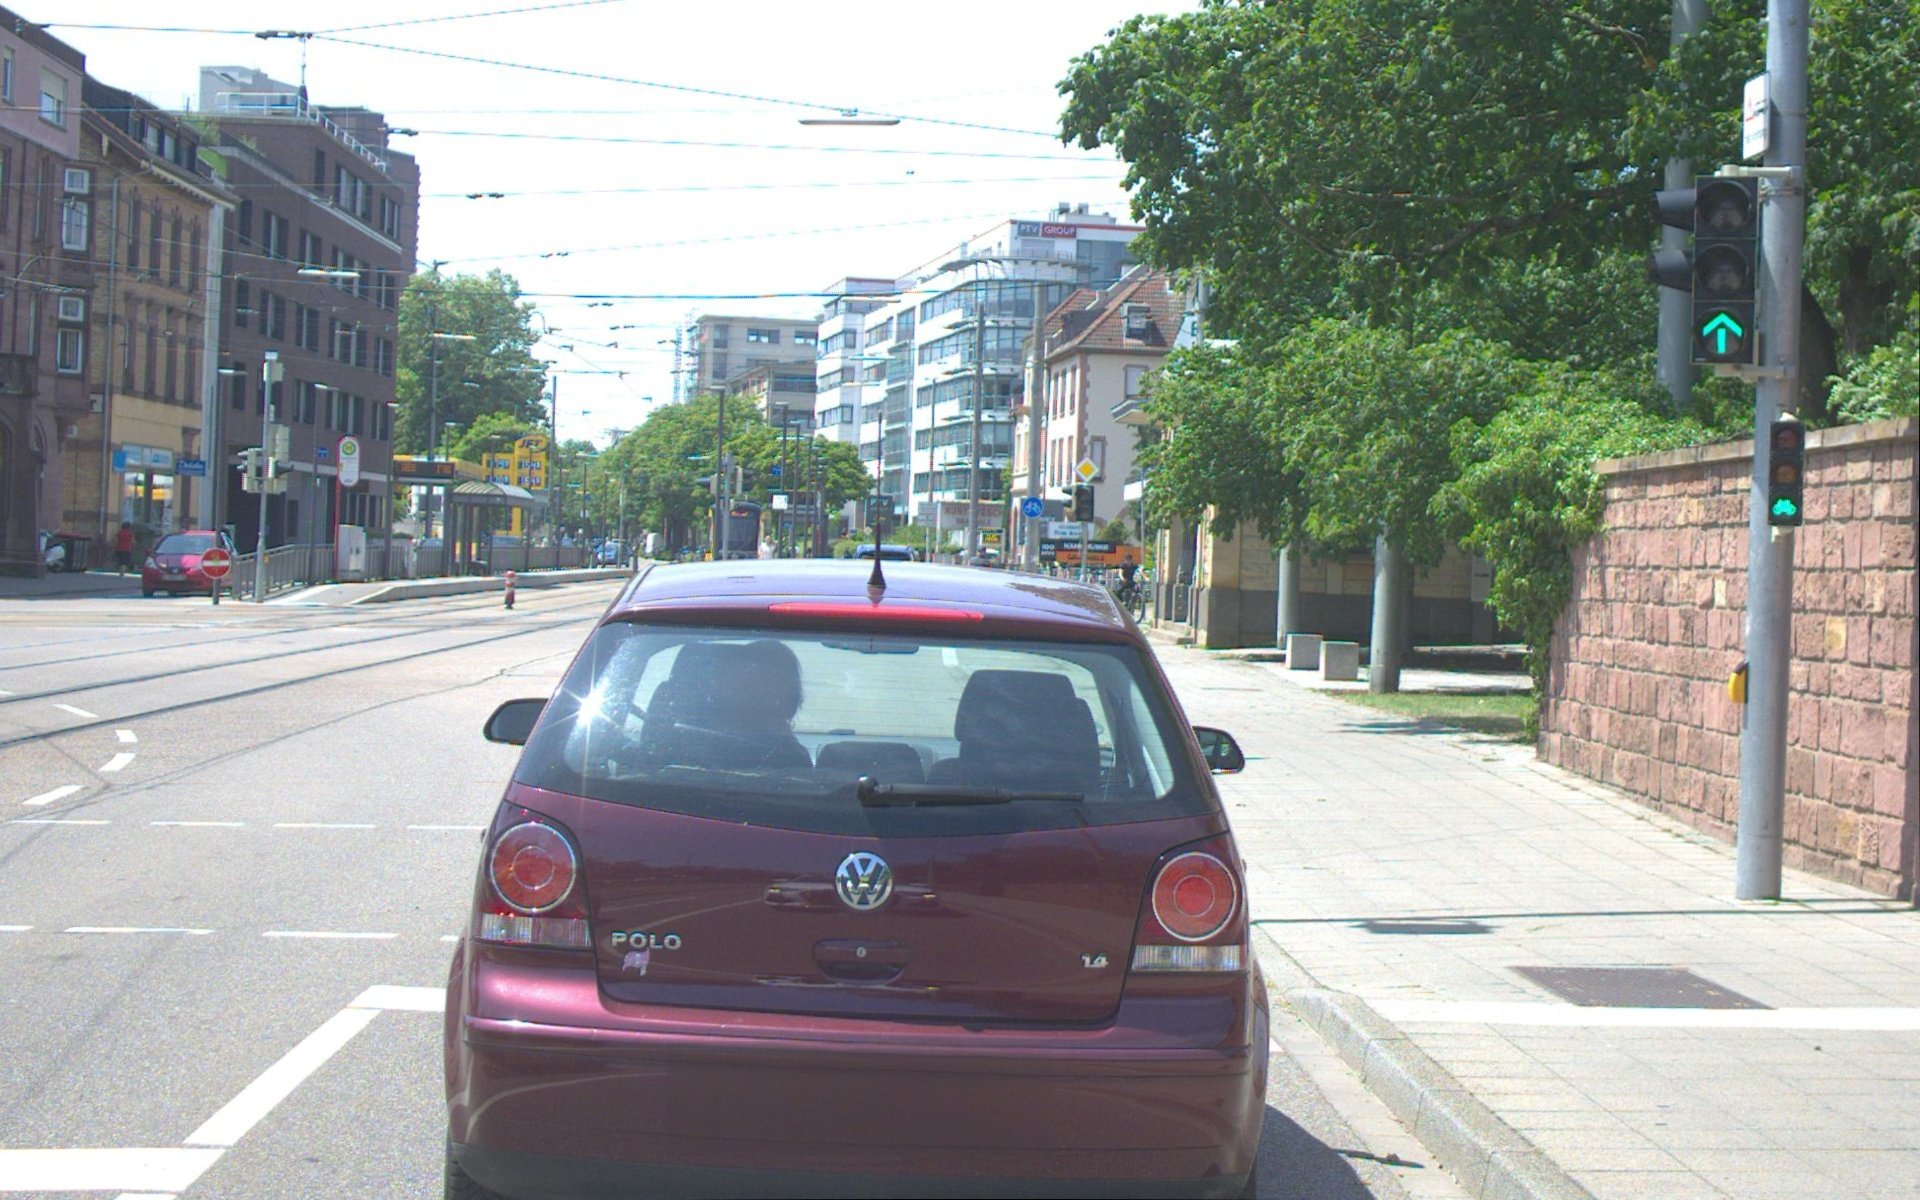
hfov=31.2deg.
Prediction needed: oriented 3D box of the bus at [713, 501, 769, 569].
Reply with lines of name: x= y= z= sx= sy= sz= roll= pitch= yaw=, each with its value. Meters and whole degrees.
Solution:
bus: x=-10.047 y=-2.985 z=158.111 sx=2.233 sy=2.993 sz=6.594 roll=2 pitch=1 yaw=-1

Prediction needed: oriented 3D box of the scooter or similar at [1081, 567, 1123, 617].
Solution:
scooter or similar: x=3.467 y=-0.201 z=84.015 sx=0.339 sy=1.174 sz=1.468 roll=2 pitch=1 yaw=-25

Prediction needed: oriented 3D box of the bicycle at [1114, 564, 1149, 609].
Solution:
bicycle: x=4.006 y=-0.327 z=80.424 sx=0.668 sy=0.999 sz=1.864 roll=-2 pitch=1 yaw=-1

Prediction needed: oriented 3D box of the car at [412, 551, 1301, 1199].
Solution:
car: x=-0.233 y=0.646 z=7.727 sx=1.561 sy=1.448 sz=3.062 roll=2 pitch=1 yaw=-2

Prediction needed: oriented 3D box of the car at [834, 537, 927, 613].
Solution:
car: x=-1.838 y=-0.588 z=77.860 sx=1.993 sy=1.619 sz=4.632 roll=2 pitch=1 yaw=-2

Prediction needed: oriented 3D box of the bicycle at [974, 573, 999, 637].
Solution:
bicycle: x=0.515 y=0.091 z=67.783 sx=0.375 sy=1.193 sz=1.905 roll=2 pitch=1 yaw=-2

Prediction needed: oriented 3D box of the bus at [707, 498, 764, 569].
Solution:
bus: x=-9.867 y=-2.920 z=151.538 sx=2.145 sy=2.993 sz=6.574 roll=2 pitch=1 yaw=-1

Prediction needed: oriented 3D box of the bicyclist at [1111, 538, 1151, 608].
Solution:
bicyclist: x=4.010 y=-0.641 z=80.515 sx=0.832 sy=1.612 sz=0.860 roll=-2 pitch=1 yaw=-1

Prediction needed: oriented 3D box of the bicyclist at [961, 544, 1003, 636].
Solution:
bicyclist: x=0.435 y=-0.203 z=67.853 sx=0.727 sy=1.754 sz=0.924 roll=2 pitch=1 yaw=-2

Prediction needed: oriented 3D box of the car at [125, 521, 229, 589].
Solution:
car: x=-18.060 y=-1.054 z=79.440 sx=1.624 sy=1.478 sz=3.829 roll=2 pitch=1 yaw=-2

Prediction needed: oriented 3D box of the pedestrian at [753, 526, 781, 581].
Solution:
pedestrian: x=-6.002 y=-1.440 z=106.899 sx=0.763 sy=1.669 sz=1.100 roll=2 pitch=1 yaw=0

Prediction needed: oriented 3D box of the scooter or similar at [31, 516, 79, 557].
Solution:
scooter or similar: x=-24.200 y=-1.692 z=91.918 sx=0.488 sy=1.078 sz=1.576 roll=2 pitch=1 yaw=16

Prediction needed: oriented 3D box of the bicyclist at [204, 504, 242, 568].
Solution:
bicyclist: x=-20.409 y=-1.777 z=95.211 sx=0.732 sy=1.756 sz=1.135 roll=2 pitch=1 yaw=-1

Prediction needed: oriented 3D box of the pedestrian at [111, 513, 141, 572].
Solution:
pedestrian: x=-22.441 y=-1.546 z=92.544 sx=0.614 sy=1.555 sz=0.640 roll=2 pitch=1 yaw=-1
